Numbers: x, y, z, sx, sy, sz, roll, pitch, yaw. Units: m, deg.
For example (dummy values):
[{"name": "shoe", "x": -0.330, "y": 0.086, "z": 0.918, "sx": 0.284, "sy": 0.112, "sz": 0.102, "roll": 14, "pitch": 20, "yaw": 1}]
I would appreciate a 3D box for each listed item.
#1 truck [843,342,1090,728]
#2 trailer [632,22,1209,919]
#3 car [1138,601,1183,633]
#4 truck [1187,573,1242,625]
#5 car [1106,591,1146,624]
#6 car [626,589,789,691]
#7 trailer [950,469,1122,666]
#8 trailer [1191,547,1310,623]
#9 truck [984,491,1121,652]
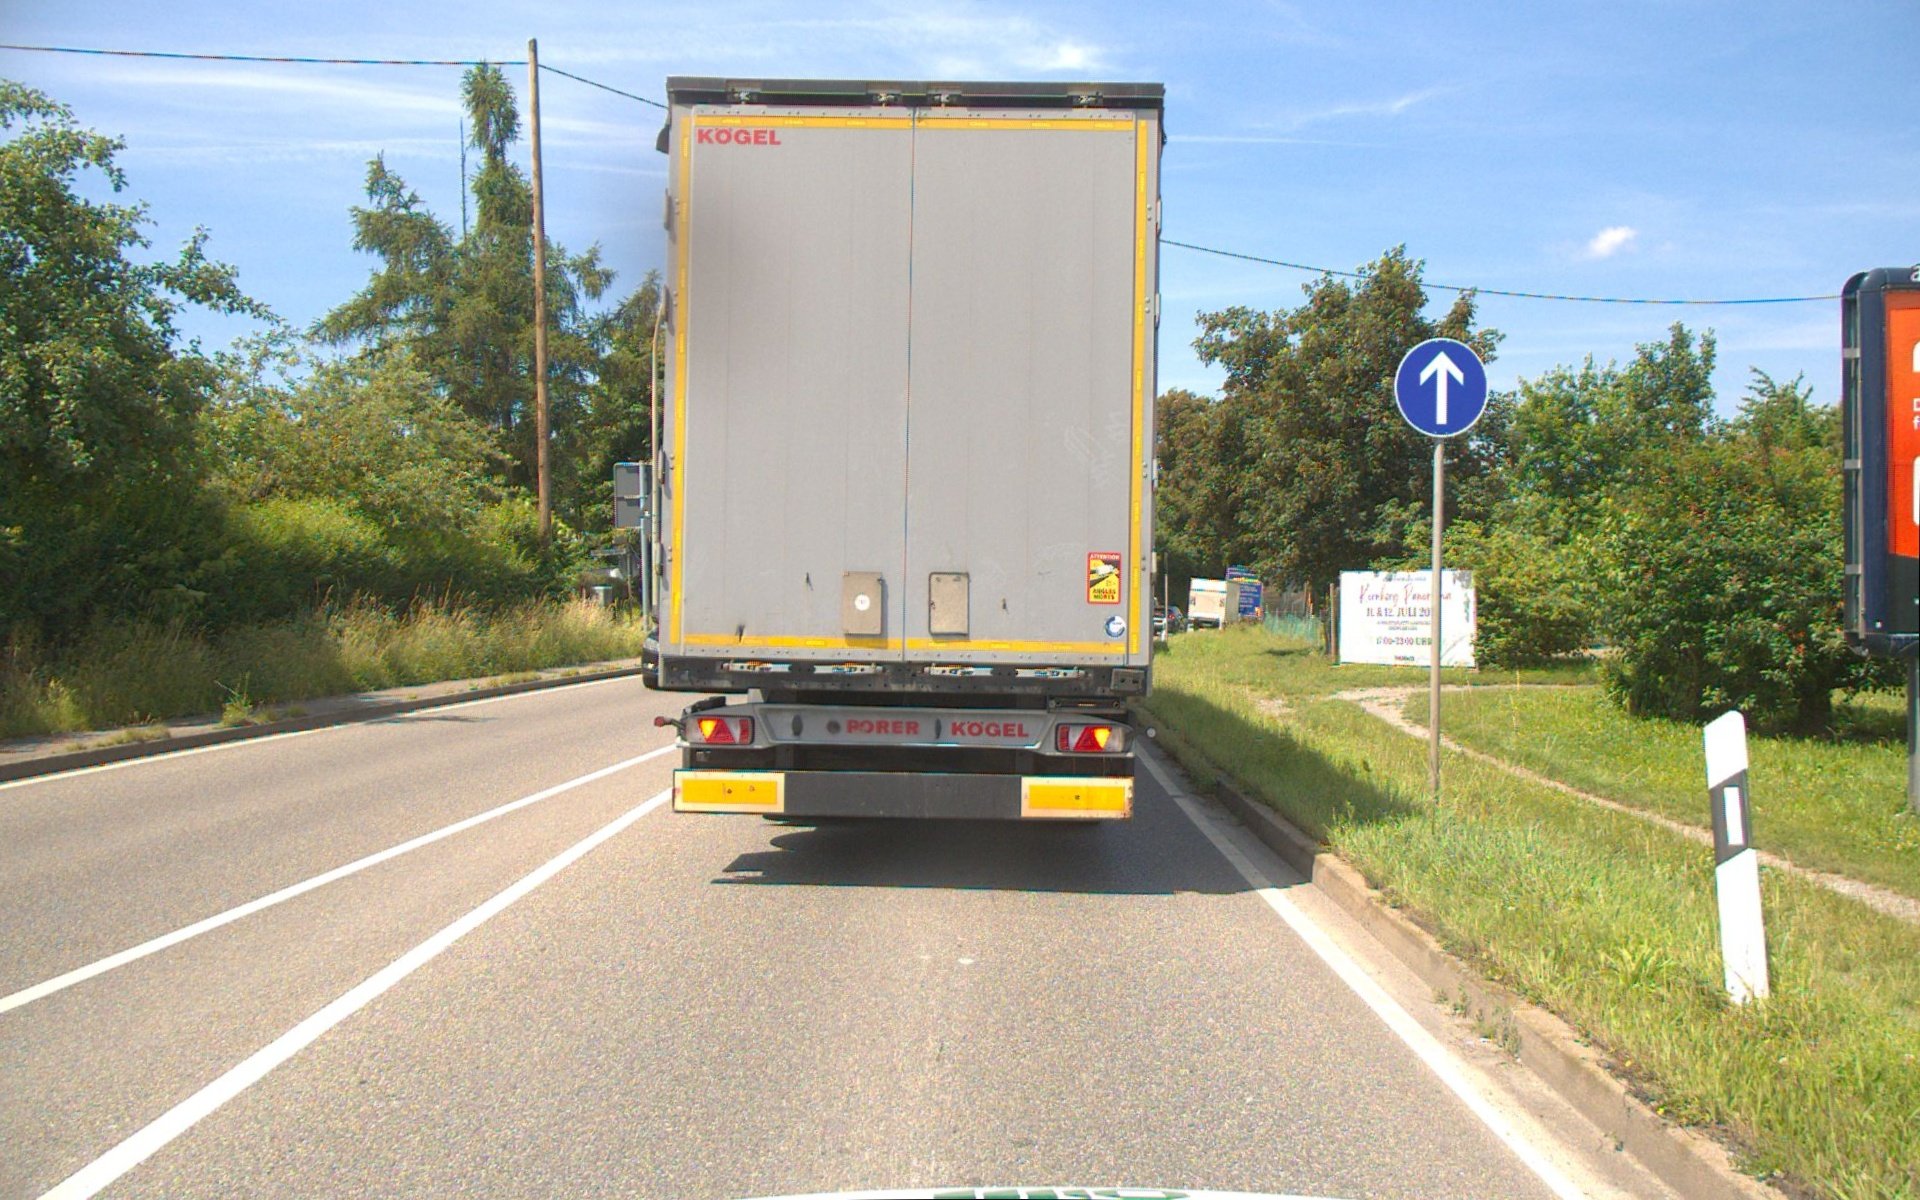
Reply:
[{"name": "truck", "x": 0.277, "y": -0.764, "z": 21.331, "sx": 2.688, "sy": 4.238, "sz": 6.146, "roll": 1, "pitch": 1, "yaw": 4}, {"name": "trailer", "x": -0.019, "y": -0.705, "z": 13.996, "sx": 2.729, "sy": 4.278, "sz": 12.114, "roll": 1, "pitch": 1, "yaw": 2}, {"name": "car", "x": 10.183, "y": 0.821, "z": 83.783, "sx": 1.802, "sy": 1.512, "sz": 4.003, "roll": 0, "pitch": 1, "yaw": 14}, {"name": "truck", "x": 14.710, "y": -0.105, "z": 95.342, "sx": 2.369, "sy": 2.888, "sz": 5.416, "roll": 0, "pitch": 1, "yaw": 17}, {"name": "car", "x": 9.805, "y": 0.405, "z": 97.683, "sx": 1.951, "sy": 1.870, "sz": 4.004, "roll": 0, "pitch": 1, "yaw": 12}, {"name": "car", "x": -3.904, "y": 0.567, "z": 26.358, "sx": 1.777, "sy": 1.442, "sz": 4.616, "roll": 0, "pitch": 1, "yaw": 1}, {"name": "trailer", "x": 2.391, "y": -0.779, "z": 45.032, "sx": 3.808, "sy": 4.600, "sz": 12.722, "roll": 0, "pitch": 0, "yaw": 6}, {"name": "trailer", "x": 19.805, "y": -1.029, "z": 111.536, "sx": 5.072, "sy": 4.709, "sz": 15.898, "roll": 1, "pitch": 1, "yaw": 20}, {"name": "truck", "x": 3.029, "y": -0.838, "z": 51.659, "sx": 3.853, "sy": 4.655, "sz": 7.157, "roll": 0, "pitch": 0, "yaw": 6}]
